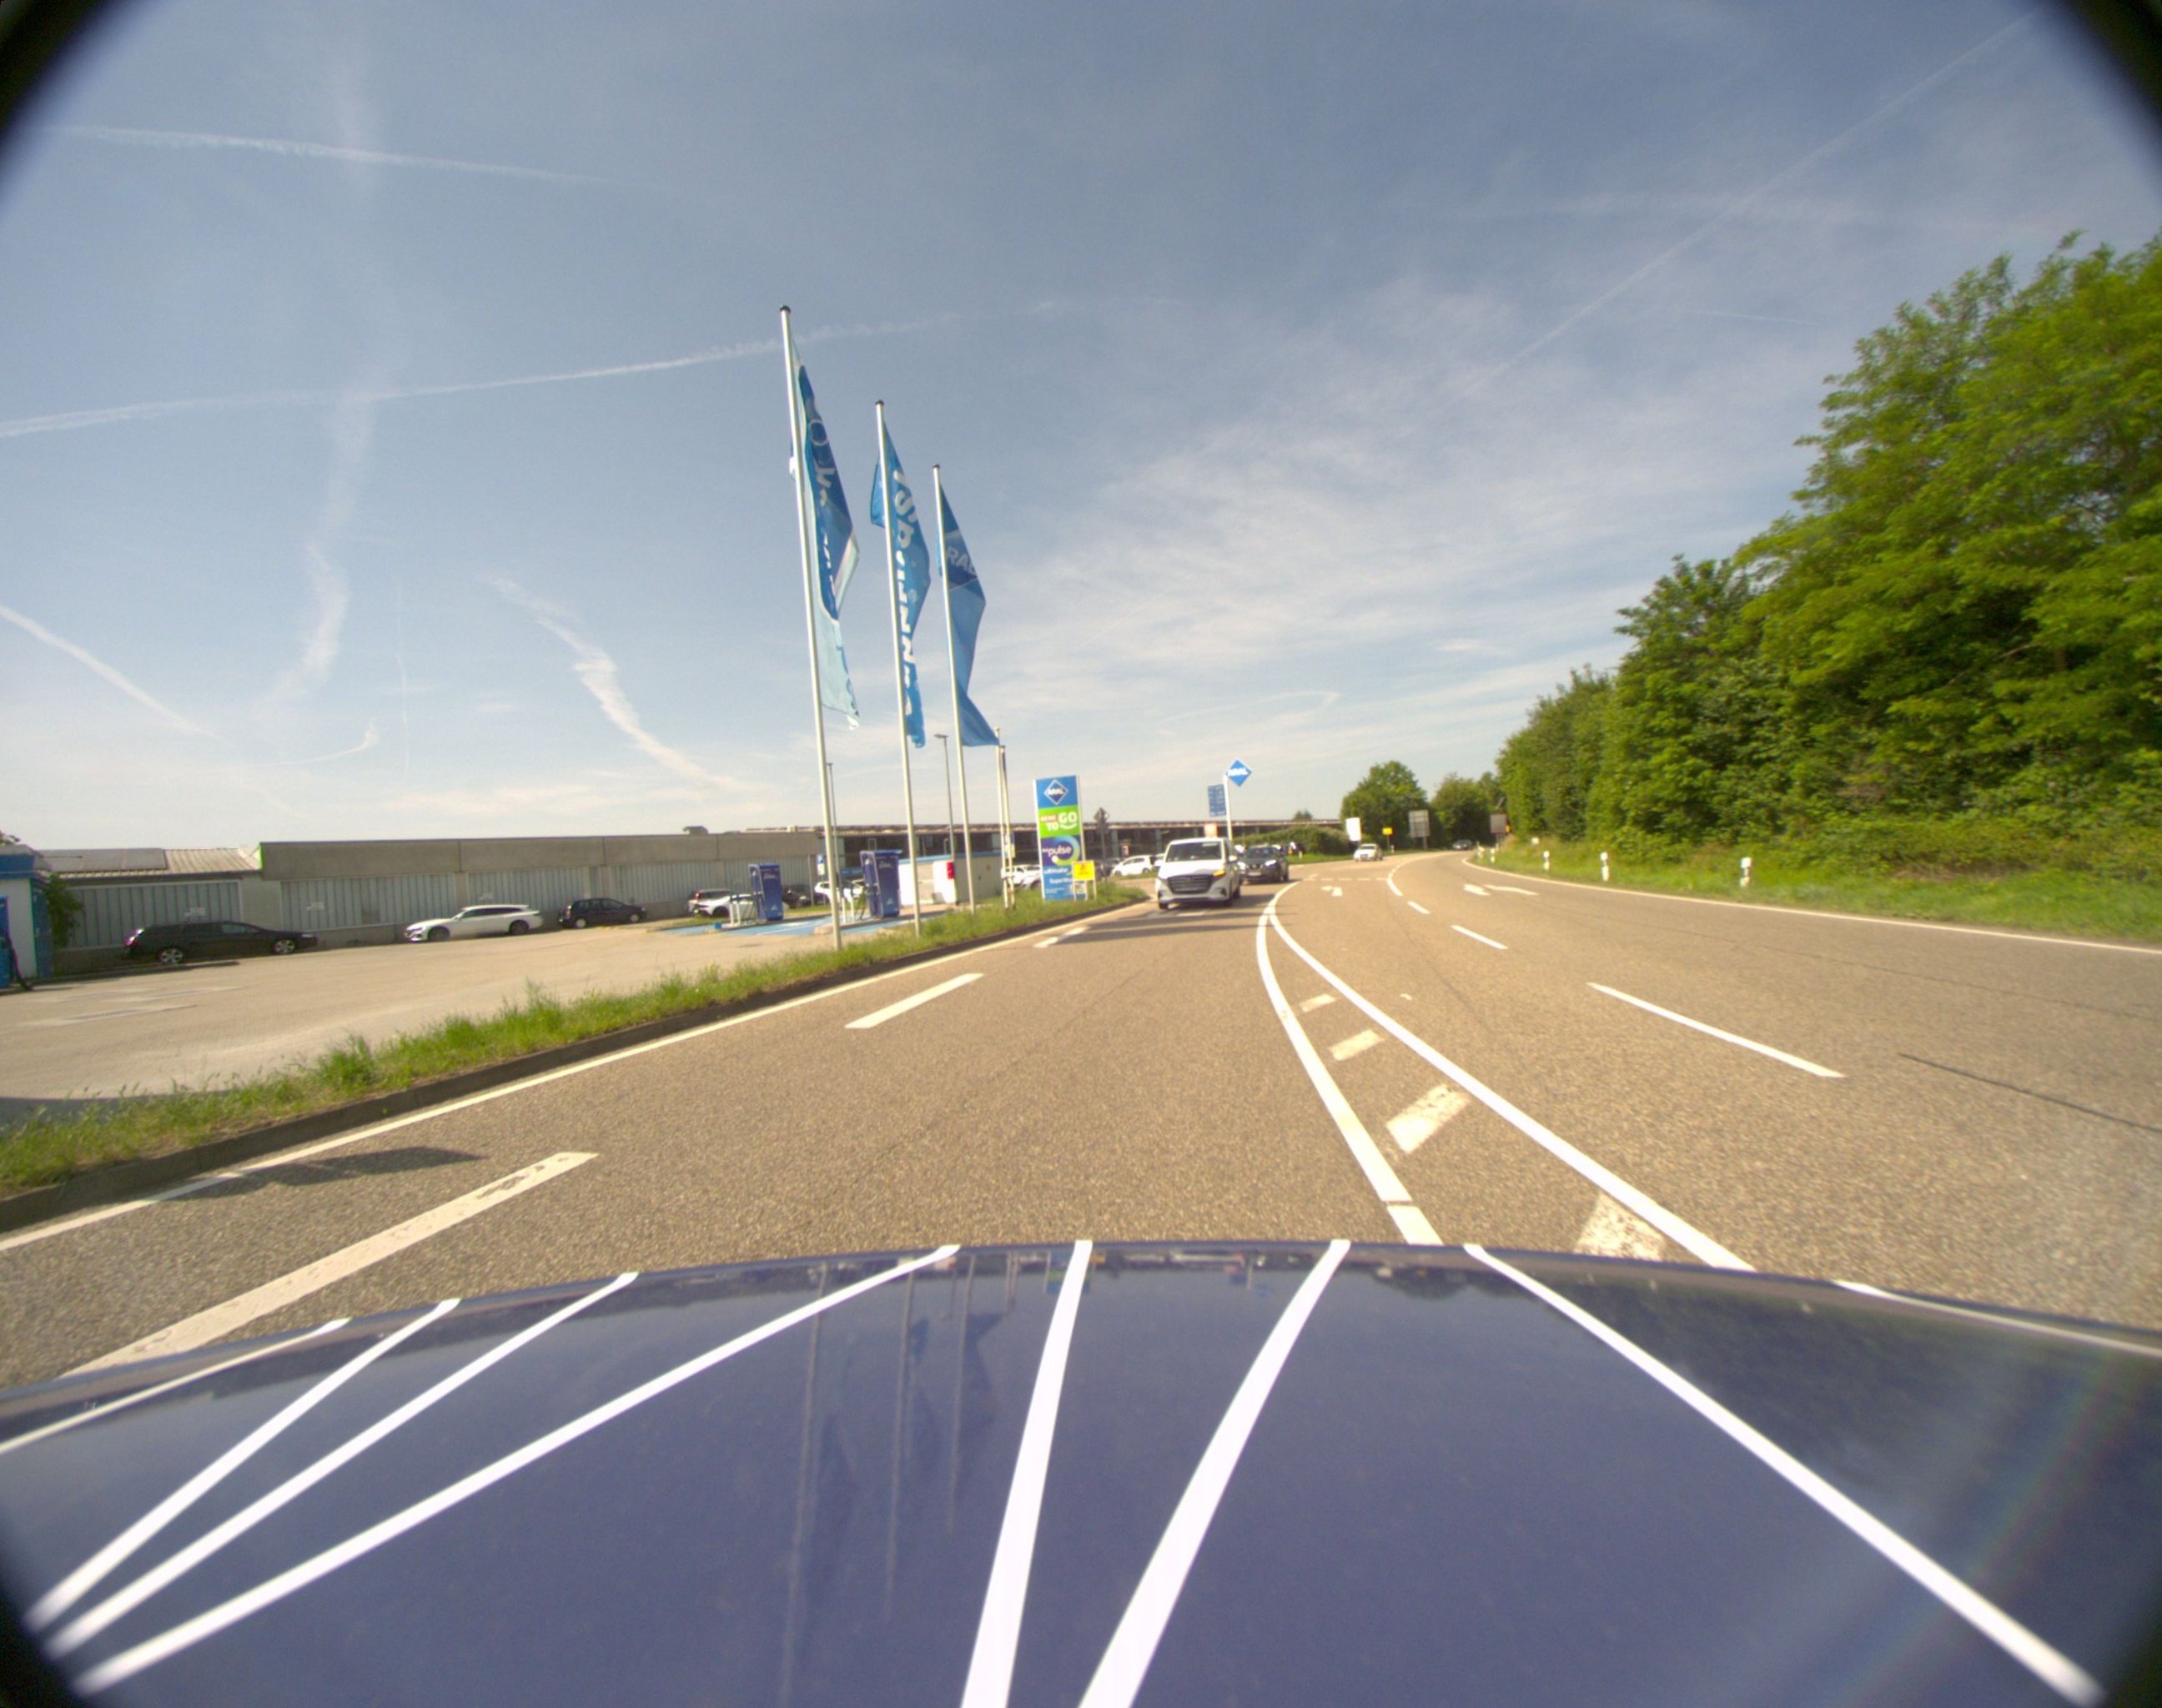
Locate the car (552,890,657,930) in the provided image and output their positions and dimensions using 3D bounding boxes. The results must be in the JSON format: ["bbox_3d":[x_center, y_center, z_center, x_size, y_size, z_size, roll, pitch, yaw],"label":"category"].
[{"bbox_3d":[-24.000,2.776,38.395,1.885,1.595,4.028,-4,0,41],"label":"car"}]

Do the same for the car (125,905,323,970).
[{"bbox_3d":[-31.820,3.028,28.364,1.885,1.815,4.664,-4,0,36],"label":"car"}]

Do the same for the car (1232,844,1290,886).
[{"bbox_3d":[7.600,0.409,31.884,1.818,1.532,3.732,-4,0,21],"label":"car"}]

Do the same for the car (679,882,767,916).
[{"bbox_3d":[-20.166,2.510,42.870,1.885,1.595,4.028,-4,0,45],"label":"car"}]

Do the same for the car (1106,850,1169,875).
[{"bbox_3d":[4.137,0.632,55.726,4.247,1.628,1.826,-4,-1,36],"label":"car"}]

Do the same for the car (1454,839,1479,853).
[{"bbox_3d":[53.450,-1.135,105.284,1.864,1.631,4.429,-4,0,42],"label":"car"}]

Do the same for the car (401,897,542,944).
[{"bbox_3d":[-27.190,2.934,34.025,1.885,1.595,4.538,-4,0,38],"label":"car"}]

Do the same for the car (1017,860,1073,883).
[{"bbox_3d":[-2.951,1.399,61.429,4.454,1.628,1.826,-4,-2,42],"label":"car"}]

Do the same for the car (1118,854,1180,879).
[{"bbox_3d":[5.083,0.947,57.340,4.247,1.628,1.826,-4,-1,36],"label":"car"}]

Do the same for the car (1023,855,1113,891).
[{"bbox_3d":[-0.845,1.162,47.190,5.242,1.820,1.999,-4,0,-8],"label":"car"}]

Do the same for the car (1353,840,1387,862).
[{"bbox_3d":[24.507,-0.307,64.282,1.864,1.631,4.429,-4,0,31],"label":"car"}]

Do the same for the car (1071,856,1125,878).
[{"bbox_3d":[1.467,1.146,65.966,4.454,1.628,1.826,-4,-2,42],"label":"car"}]

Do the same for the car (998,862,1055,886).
[{"bbox_3d":[-4.285,1.566,59.513,4.454,1.628,1.826,-4,-2,42],"label":"car"}]

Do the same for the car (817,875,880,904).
[{"bbox_3d":[-14.292,2.199,46.551,4.011,1.595,1.894,-4,0,44],"label":"car"}]

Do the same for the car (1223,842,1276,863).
[{"bbox_3d":[15.266,-0.108,68.875,4.247,1.628,1.826,-4,-1,36],"label":"car"}]

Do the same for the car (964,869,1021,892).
[{"bbox_3d":[-6.386,1.937,54.708,4.035,1.449,1.826,-4,-2,42],"label":"car"}]

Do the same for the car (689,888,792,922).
[{"bbox_3d":[-16.372,2.455,36.723,1.694,1.245,4.133,-4,0,41],"label":"car"}]

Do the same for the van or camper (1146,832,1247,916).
[{"bbox_3d":[3.417,0.472,21.513,1.996,2.002,5.296,-4,0,16],"label":"van or camper"}]

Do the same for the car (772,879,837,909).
[{"bbox_3d":[-16.270,2.351,44.576,4.011,1.595,1.894,-4,0,44],"label":"car"}]

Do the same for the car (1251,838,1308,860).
[{"bbox_3d":[16.914,-0.432,64.818,4.247,1.628,1.826,-4,-1,36],"label":"car"}]
